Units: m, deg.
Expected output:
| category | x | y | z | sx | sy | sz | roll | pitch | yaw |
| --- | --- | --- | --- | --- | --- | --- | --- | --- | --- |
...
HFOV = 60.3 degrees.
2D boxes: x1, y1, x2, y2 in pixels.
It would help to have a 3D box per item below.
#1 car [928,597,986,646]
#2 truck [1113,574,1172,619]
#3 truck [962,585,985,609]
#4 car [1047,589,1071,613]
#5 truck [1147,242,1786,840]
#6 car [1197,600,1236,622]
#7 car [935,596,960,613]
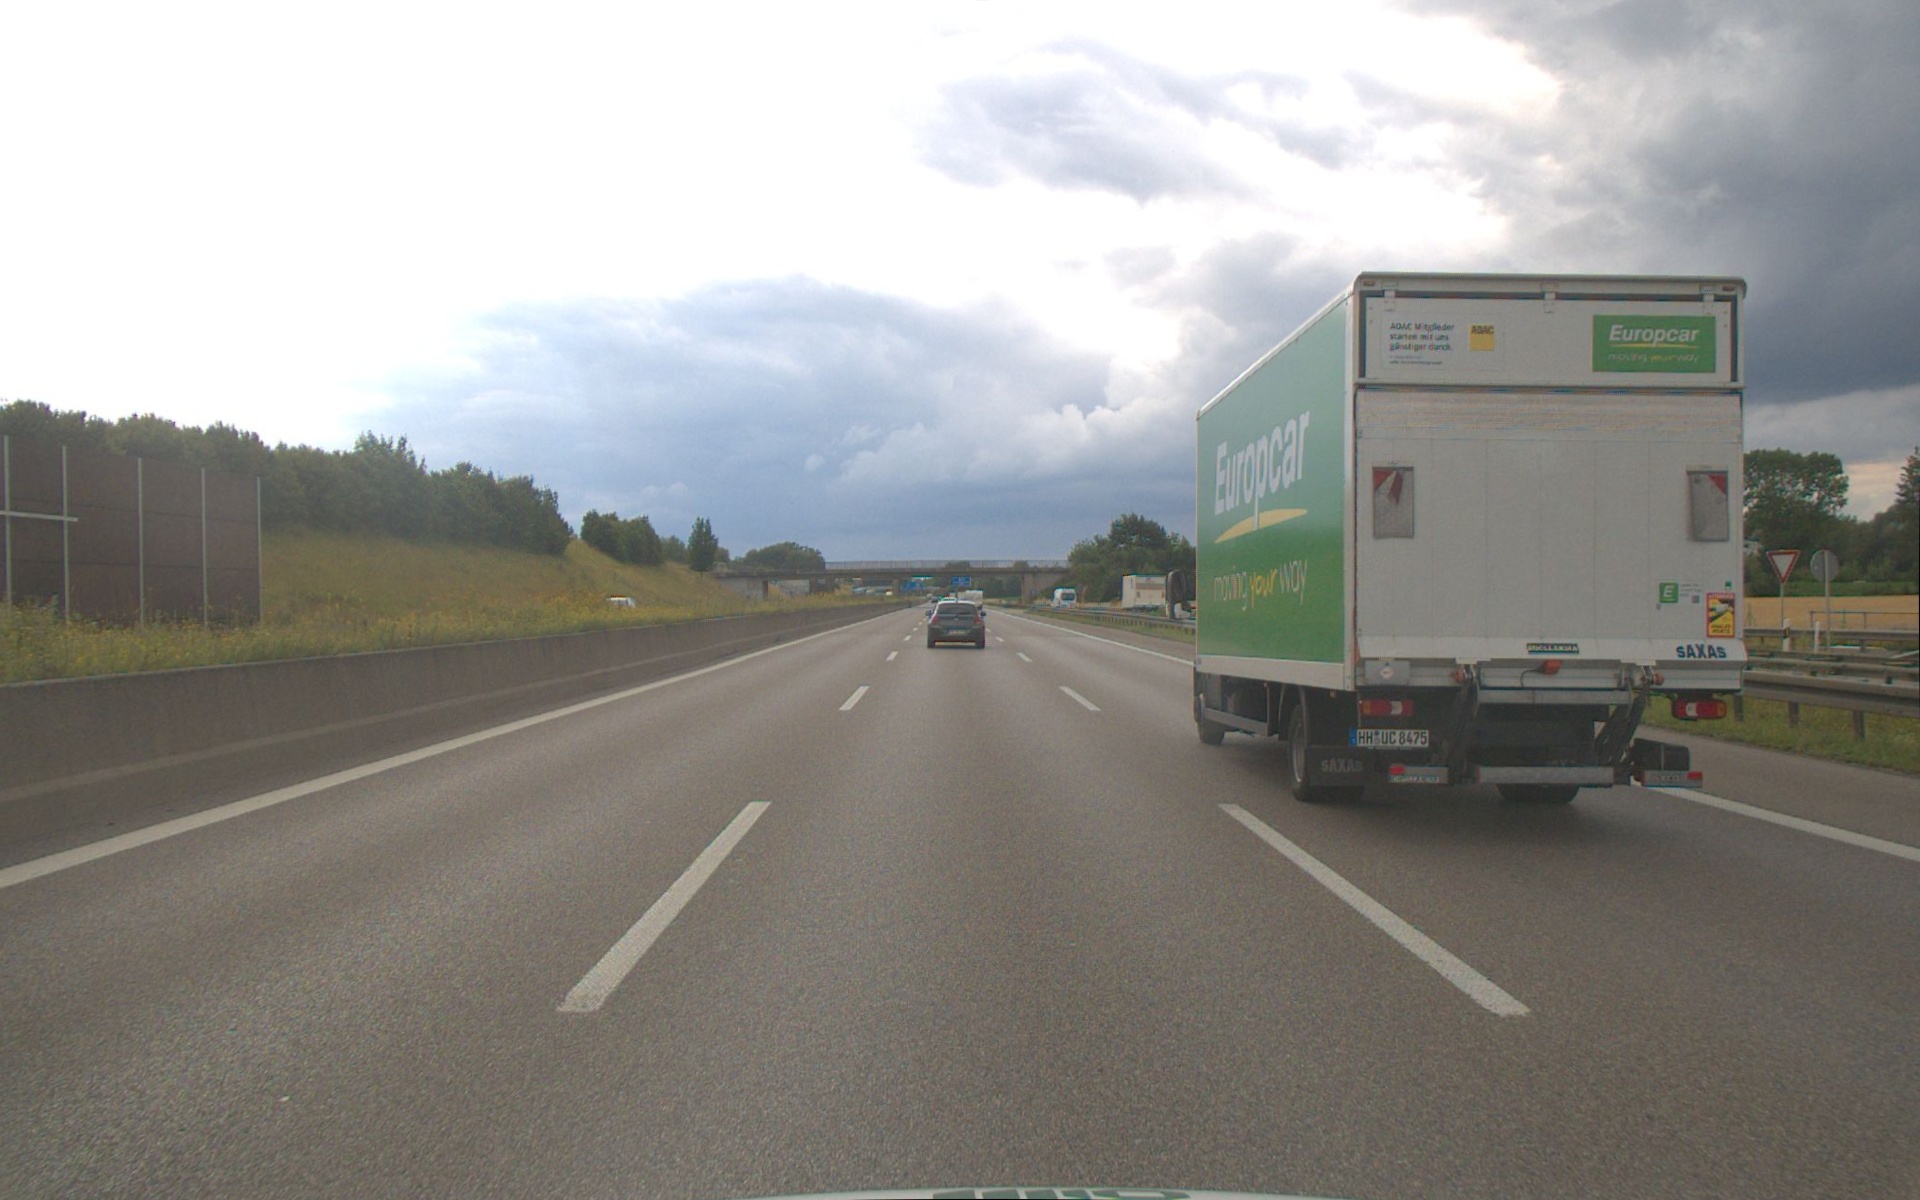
| category | x | y | z | sx | sy | sz | roll | pitch | yaw |
| --- | --- | --- | --- | --- | --- | --- | --- | --- | --- |
| car | -0.114 | 0.629 | 50.880 | 1.708 | 1.413 | 3.999 | 1 | 0 | -1 |
| truck | 15.070 | -0.290 | 137.513 | 3.044 | 3.531 | 8.879 | 1 | 0 | -6 |
| truck | 1.721 | -0.406 | 220.081 | 2.655 | 3.016 | 12.444 | 1 | 0 | -1 |
| car | 10.884 | 0.106 | 181.642 | 2.176 | 2.613 | 6.255 | 0 | 0 | -1 |
| truck | 3.567 | -0.365 | 14.494 | 2.714 | 3.566 | 9.060 | 1 | 0 | -1 |
| car | 18.891 | 0.820 | 122.104 | 1.879 | 1.577 | 4.921 | -1 | 0 | -3 |
| car | -1.031 | 0.347 | 133.796 | 1.953 | 1.321 | 3.999 | -1 | 0 | -1 |
